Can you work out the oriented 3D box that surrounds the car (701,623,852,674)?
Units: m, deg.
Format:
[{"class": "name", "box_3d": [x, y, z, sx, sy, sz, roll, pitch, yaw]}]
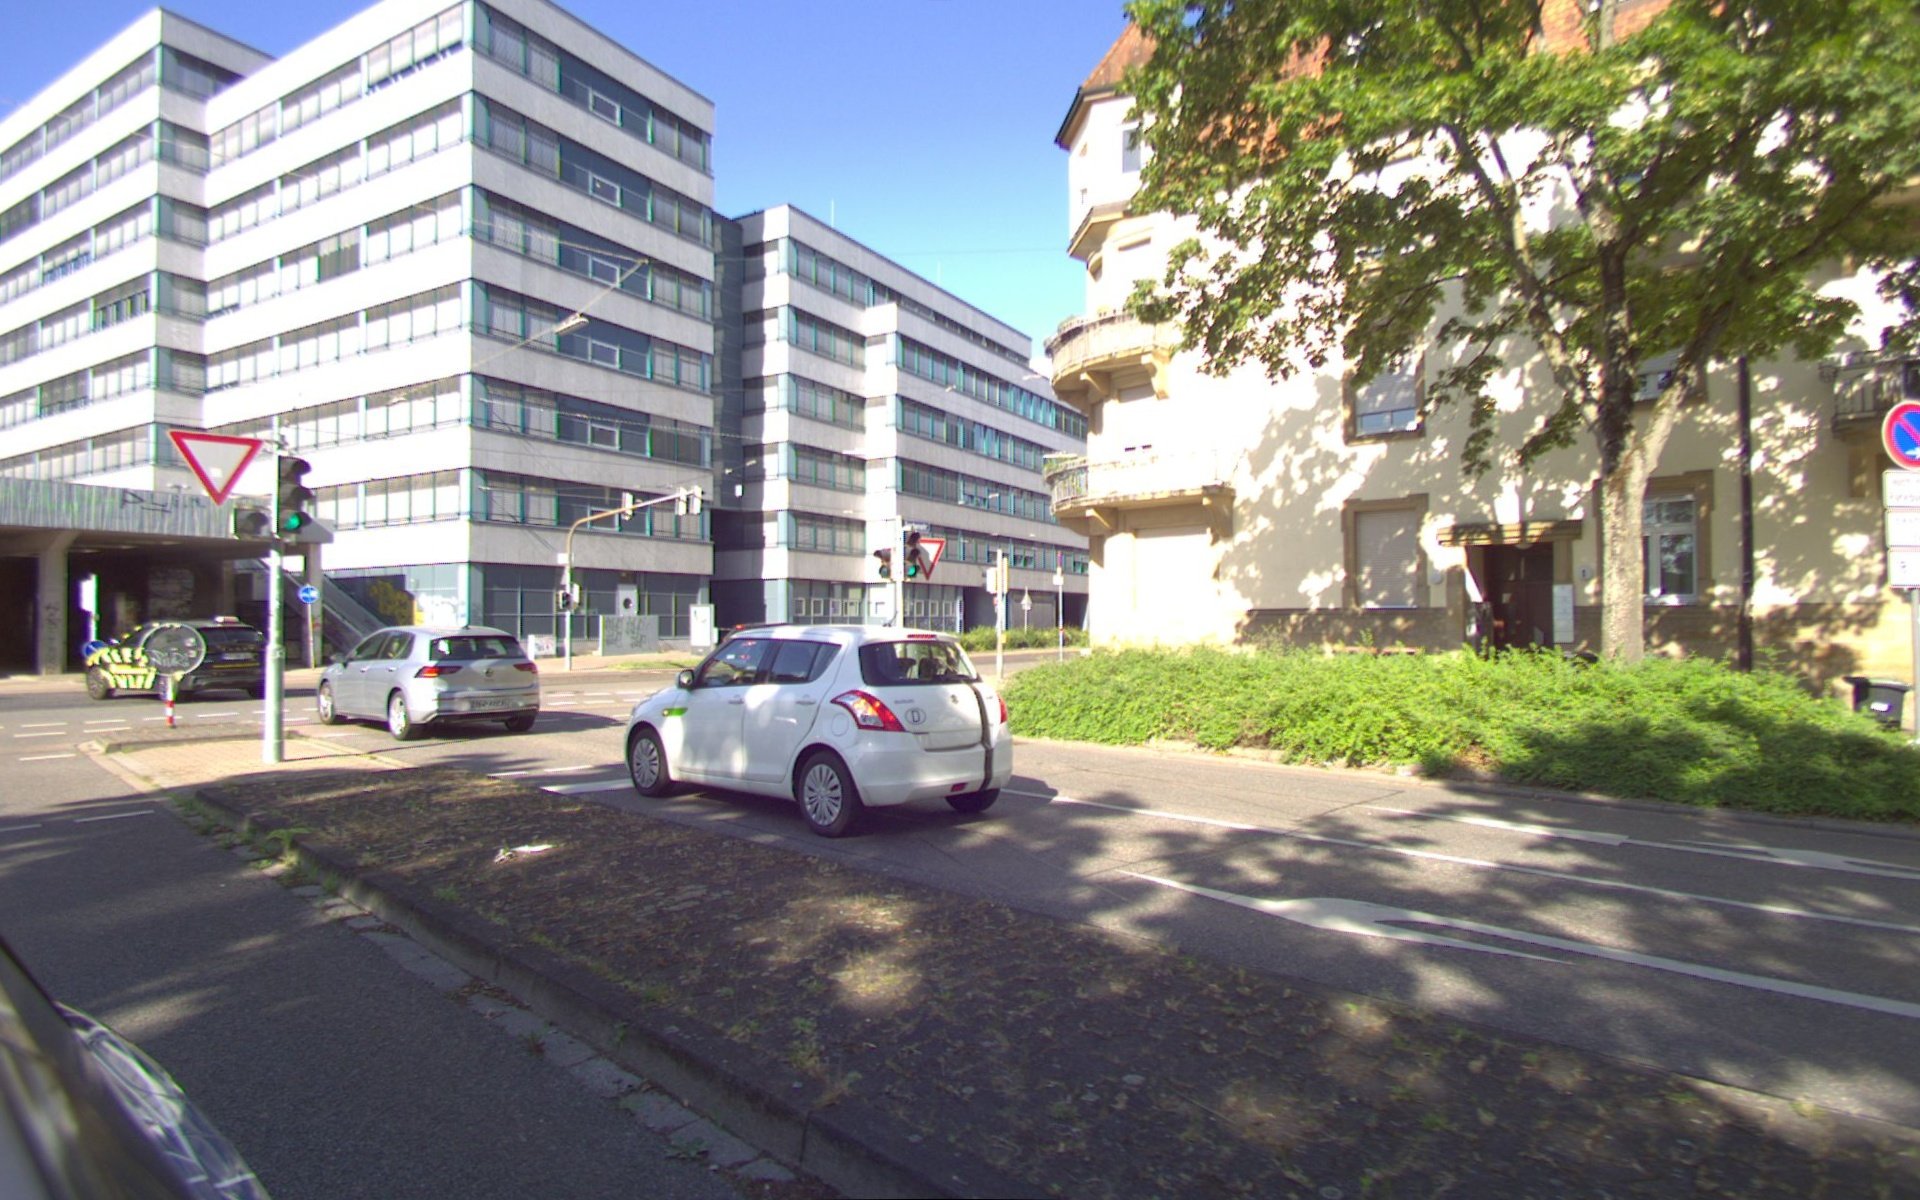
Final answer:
[{"class": "car", "box_3d": [-5.593, 1.473, 31.169, 4.257, 1.462, 1.810, 2, -3, -40]}]

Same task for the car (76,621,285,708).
[{"class": "car", "box_3d": [-15.190, 1.198, 19.698, 4.099, 1.525, 1.776, -1, -2, 30]}]

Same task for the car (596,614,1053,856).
[{"class": "car", "box_3d": [-1.274, 0.937, 8.361, 3.863, 1.524, 1.686, -2, -4, 44]}]

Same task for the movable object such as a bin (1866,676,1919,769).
[{"class": "movable object such as a bin", "box_3d": [9.356, 1.206, 10.058, 0.398, 0.860, 0.439, 0, -1, -38]}]

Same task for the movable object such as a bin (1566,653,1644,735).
[{"class": "movable object such as a bin", "box_3d": [8.581, 1.236, 13.462, 0.773, 1.007, 0.640, 0, -1, -38]}]

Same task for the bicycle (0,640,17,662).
[{"class": "bicycle", "box_3d": [-49.131, 2.616, 51.995, 2.052, 1.131, 0.537, -2, -2, 33]}]

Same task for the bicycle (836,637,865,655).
[{"class": "bicycle", "box_3d": [-6.330, 2.657, 58.438, 1.898, 0.988, 0.481, -1, -1, 40]}]

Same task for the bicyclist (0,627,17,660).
[{"class": "bicyclist", "box_3d": [-49.214, 2.233, 52.049, 1.028, 1.673, 0.776, -2, -2, 32]}]

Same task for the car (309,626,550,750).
[{"class": "car", "box_3d": [-7.475, 1.112, 14.122, 3.848, 1.463, 1.690, -1, -2, 41]}]
